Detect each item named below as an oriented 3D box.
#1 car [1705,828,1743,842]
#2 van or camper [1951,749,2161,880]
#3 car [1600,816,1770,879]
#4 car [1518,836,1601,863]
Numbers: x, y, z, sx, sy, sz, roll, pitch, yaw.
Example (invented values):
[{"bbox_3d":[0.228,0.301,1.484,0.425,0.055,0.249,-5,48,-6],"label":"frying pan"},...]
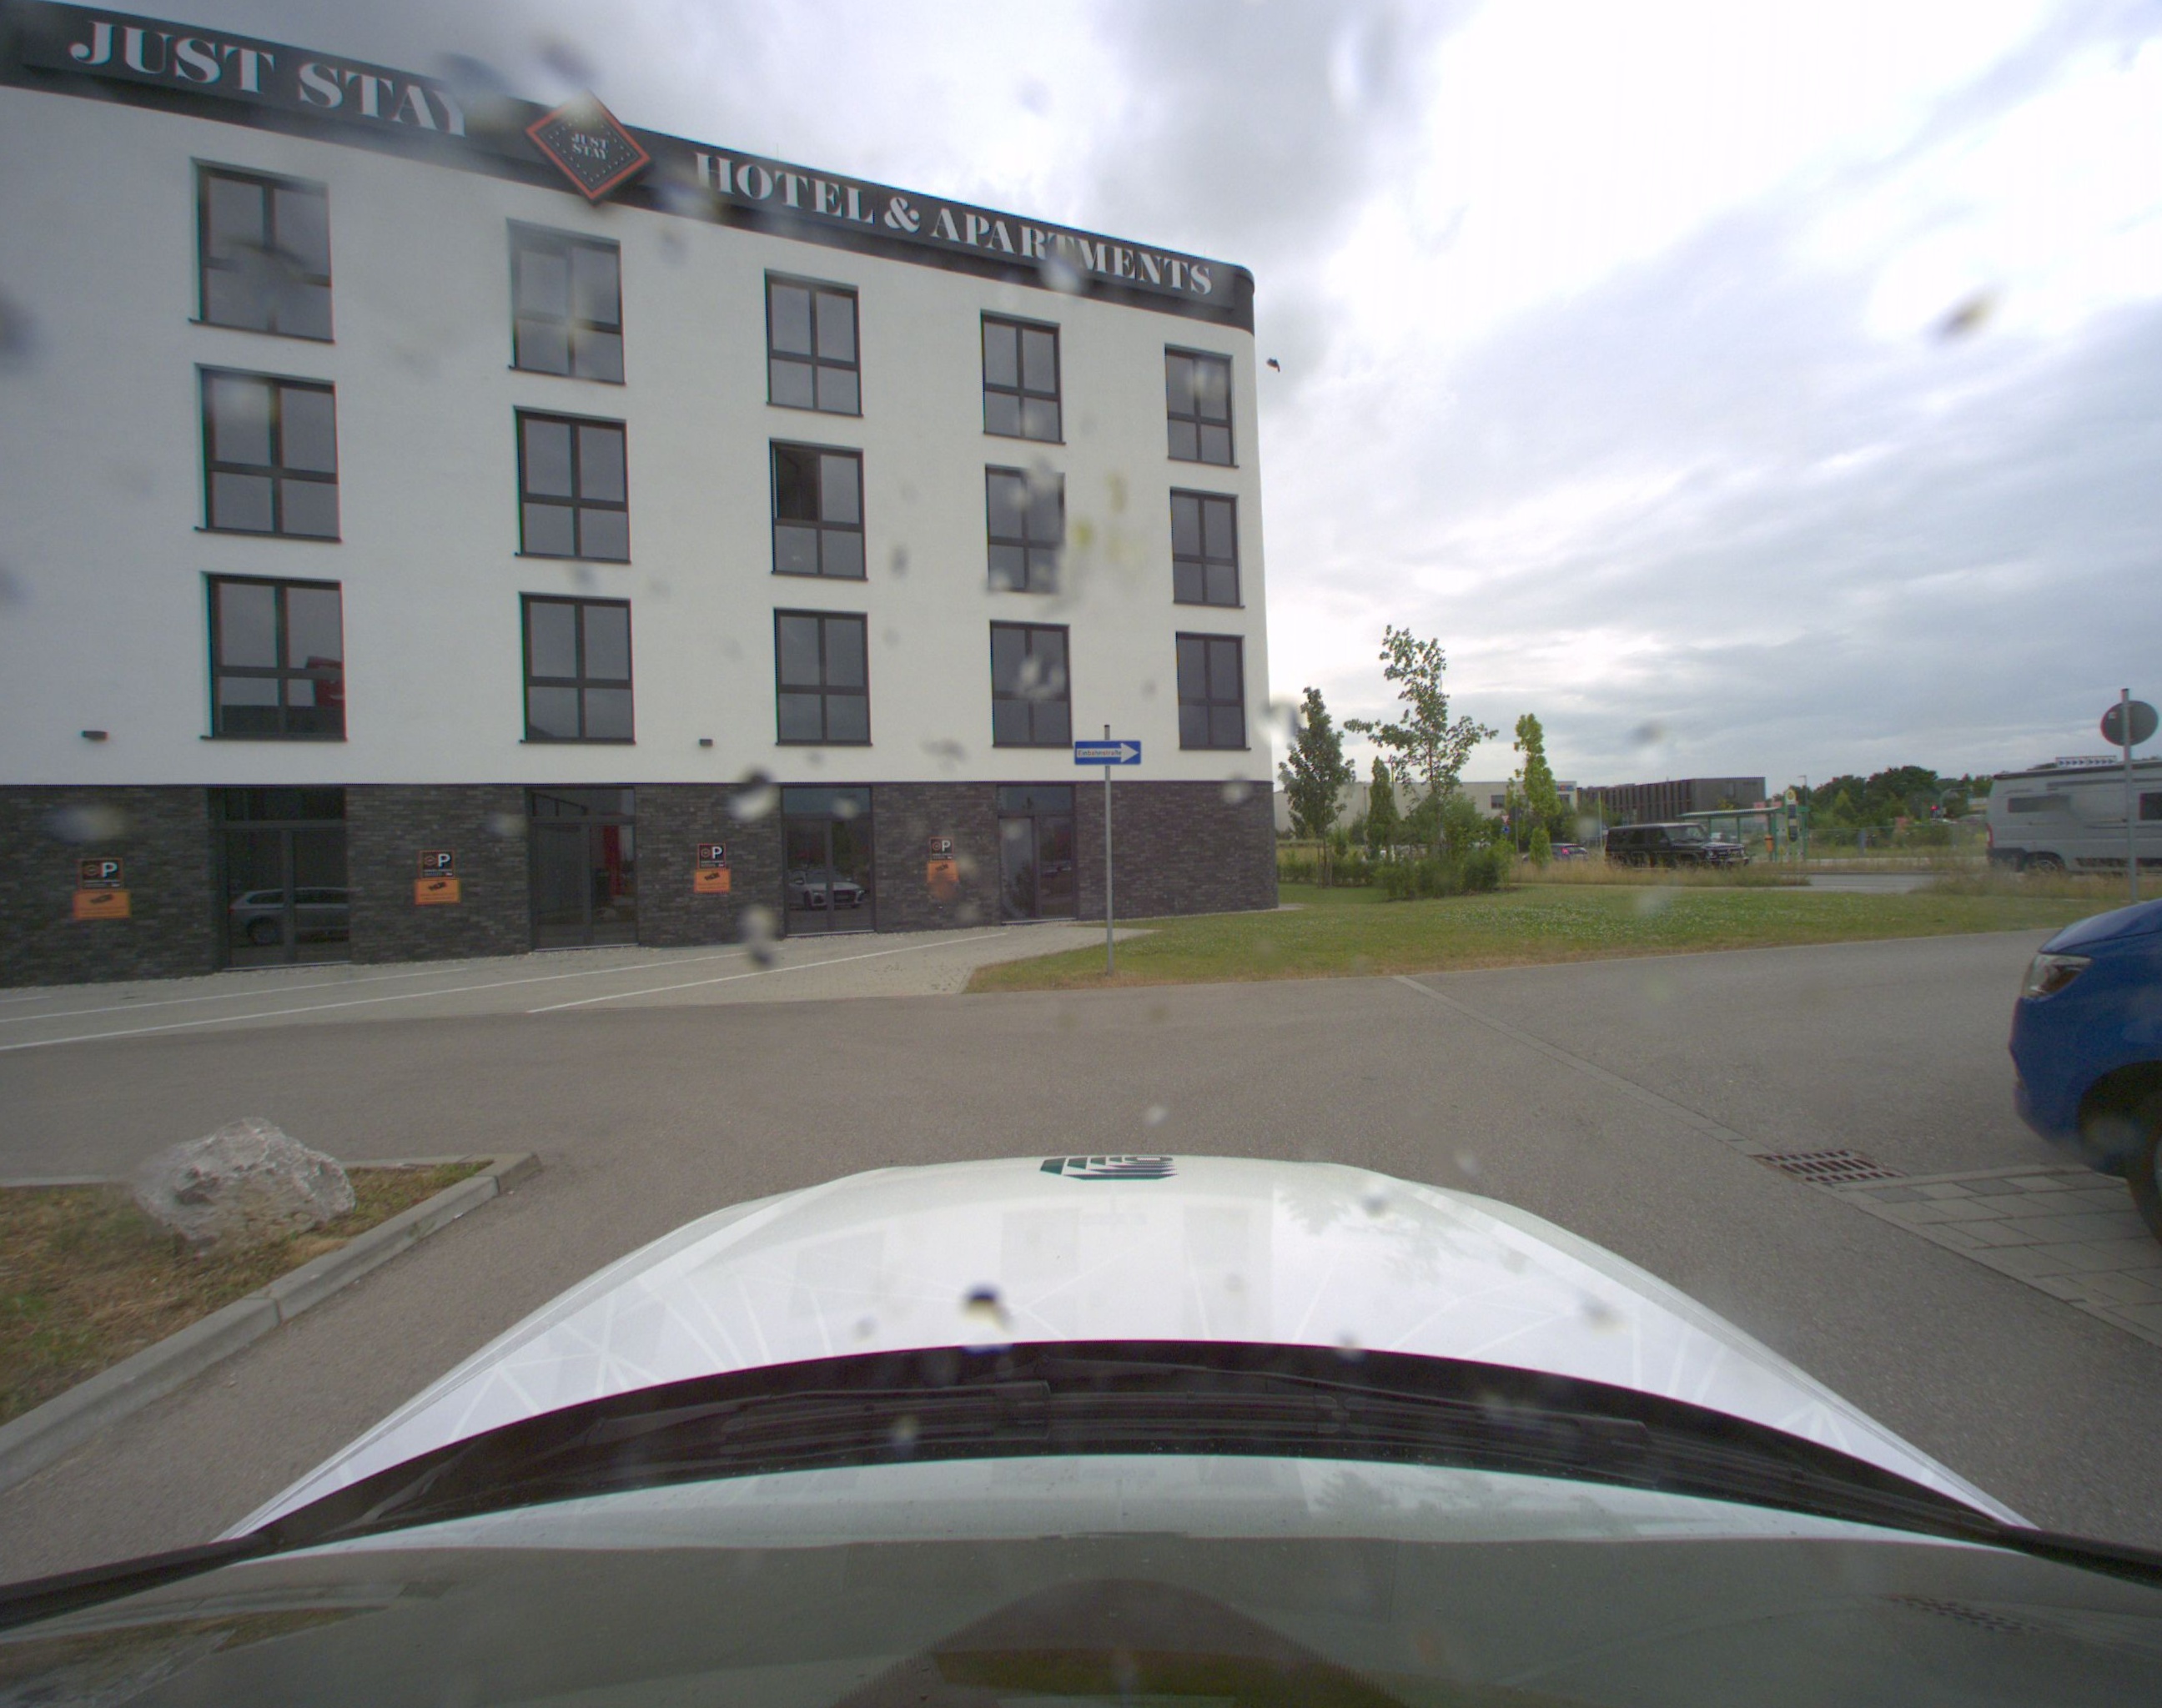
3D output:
[{"bbox_3d":[76.046,-2.272,96.328,3.637,1.486,1.672,-2,0,-15],"label":"car"},{"bbox_3d":[22.007,-0.815,16.338,2.186,2.541,6.154,-2,1,-6],"label":"van or camper"},{"bbox_3d":[20.739,-0.222,28.287,1.991,1.923,4.838,-2,1,-6],"label":"car"},{"bbox_3d":[25.645,-0.222,43.802,1.712,1.343,3.952,-2,0,-9],"label":"car"}]
